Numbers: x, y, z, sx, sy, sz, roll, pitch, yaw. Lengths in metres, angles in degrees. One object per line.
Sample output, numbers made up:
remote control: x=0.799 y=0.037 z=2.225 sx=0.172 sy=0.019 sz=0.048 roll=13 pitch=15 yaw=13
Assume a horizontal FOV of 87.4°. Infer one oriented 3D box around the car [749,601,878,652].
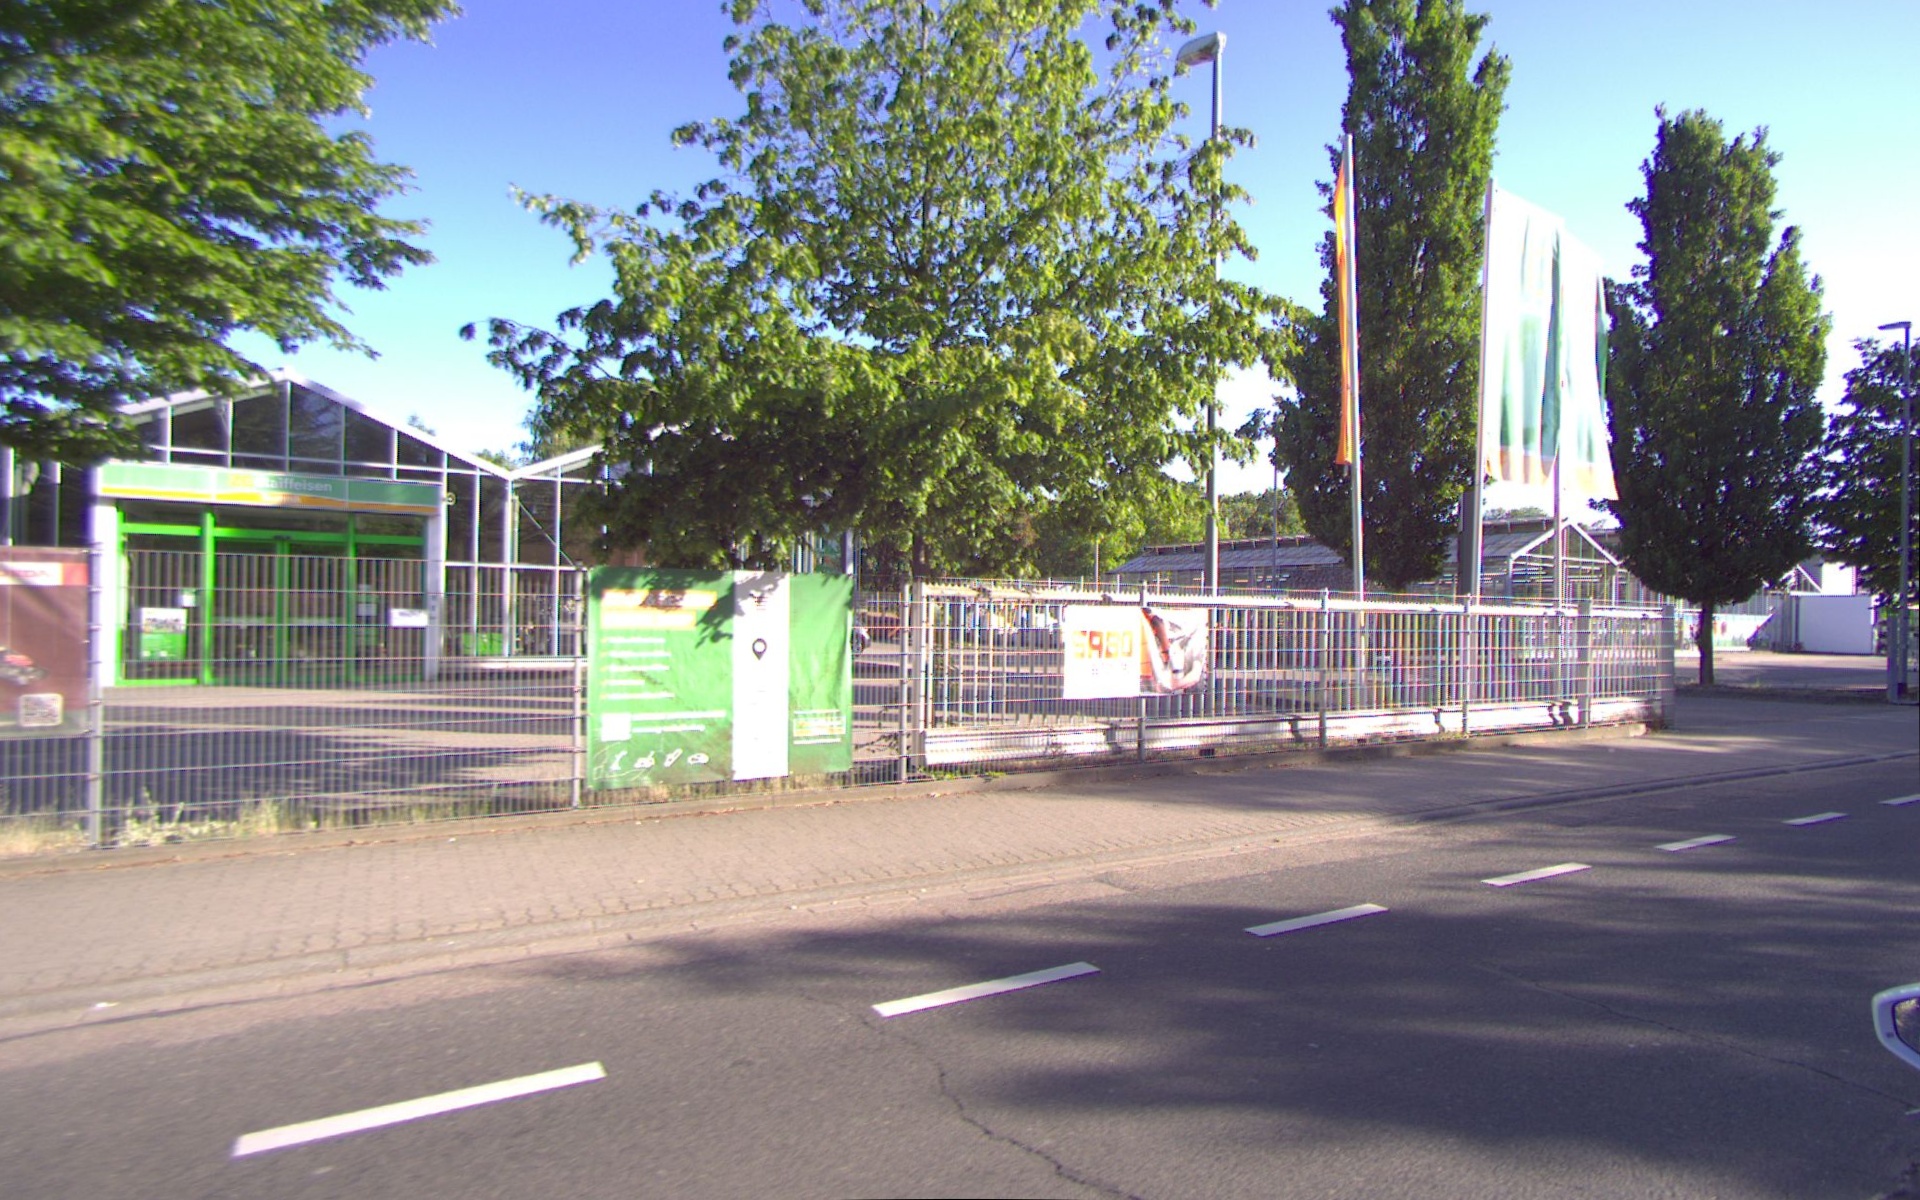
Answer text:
car: x=-5.046 y=0.929 z=34.694 sx=3.956 sy=1.529 sz=1.870 roll=4 pitch=-1 yaw=-32
